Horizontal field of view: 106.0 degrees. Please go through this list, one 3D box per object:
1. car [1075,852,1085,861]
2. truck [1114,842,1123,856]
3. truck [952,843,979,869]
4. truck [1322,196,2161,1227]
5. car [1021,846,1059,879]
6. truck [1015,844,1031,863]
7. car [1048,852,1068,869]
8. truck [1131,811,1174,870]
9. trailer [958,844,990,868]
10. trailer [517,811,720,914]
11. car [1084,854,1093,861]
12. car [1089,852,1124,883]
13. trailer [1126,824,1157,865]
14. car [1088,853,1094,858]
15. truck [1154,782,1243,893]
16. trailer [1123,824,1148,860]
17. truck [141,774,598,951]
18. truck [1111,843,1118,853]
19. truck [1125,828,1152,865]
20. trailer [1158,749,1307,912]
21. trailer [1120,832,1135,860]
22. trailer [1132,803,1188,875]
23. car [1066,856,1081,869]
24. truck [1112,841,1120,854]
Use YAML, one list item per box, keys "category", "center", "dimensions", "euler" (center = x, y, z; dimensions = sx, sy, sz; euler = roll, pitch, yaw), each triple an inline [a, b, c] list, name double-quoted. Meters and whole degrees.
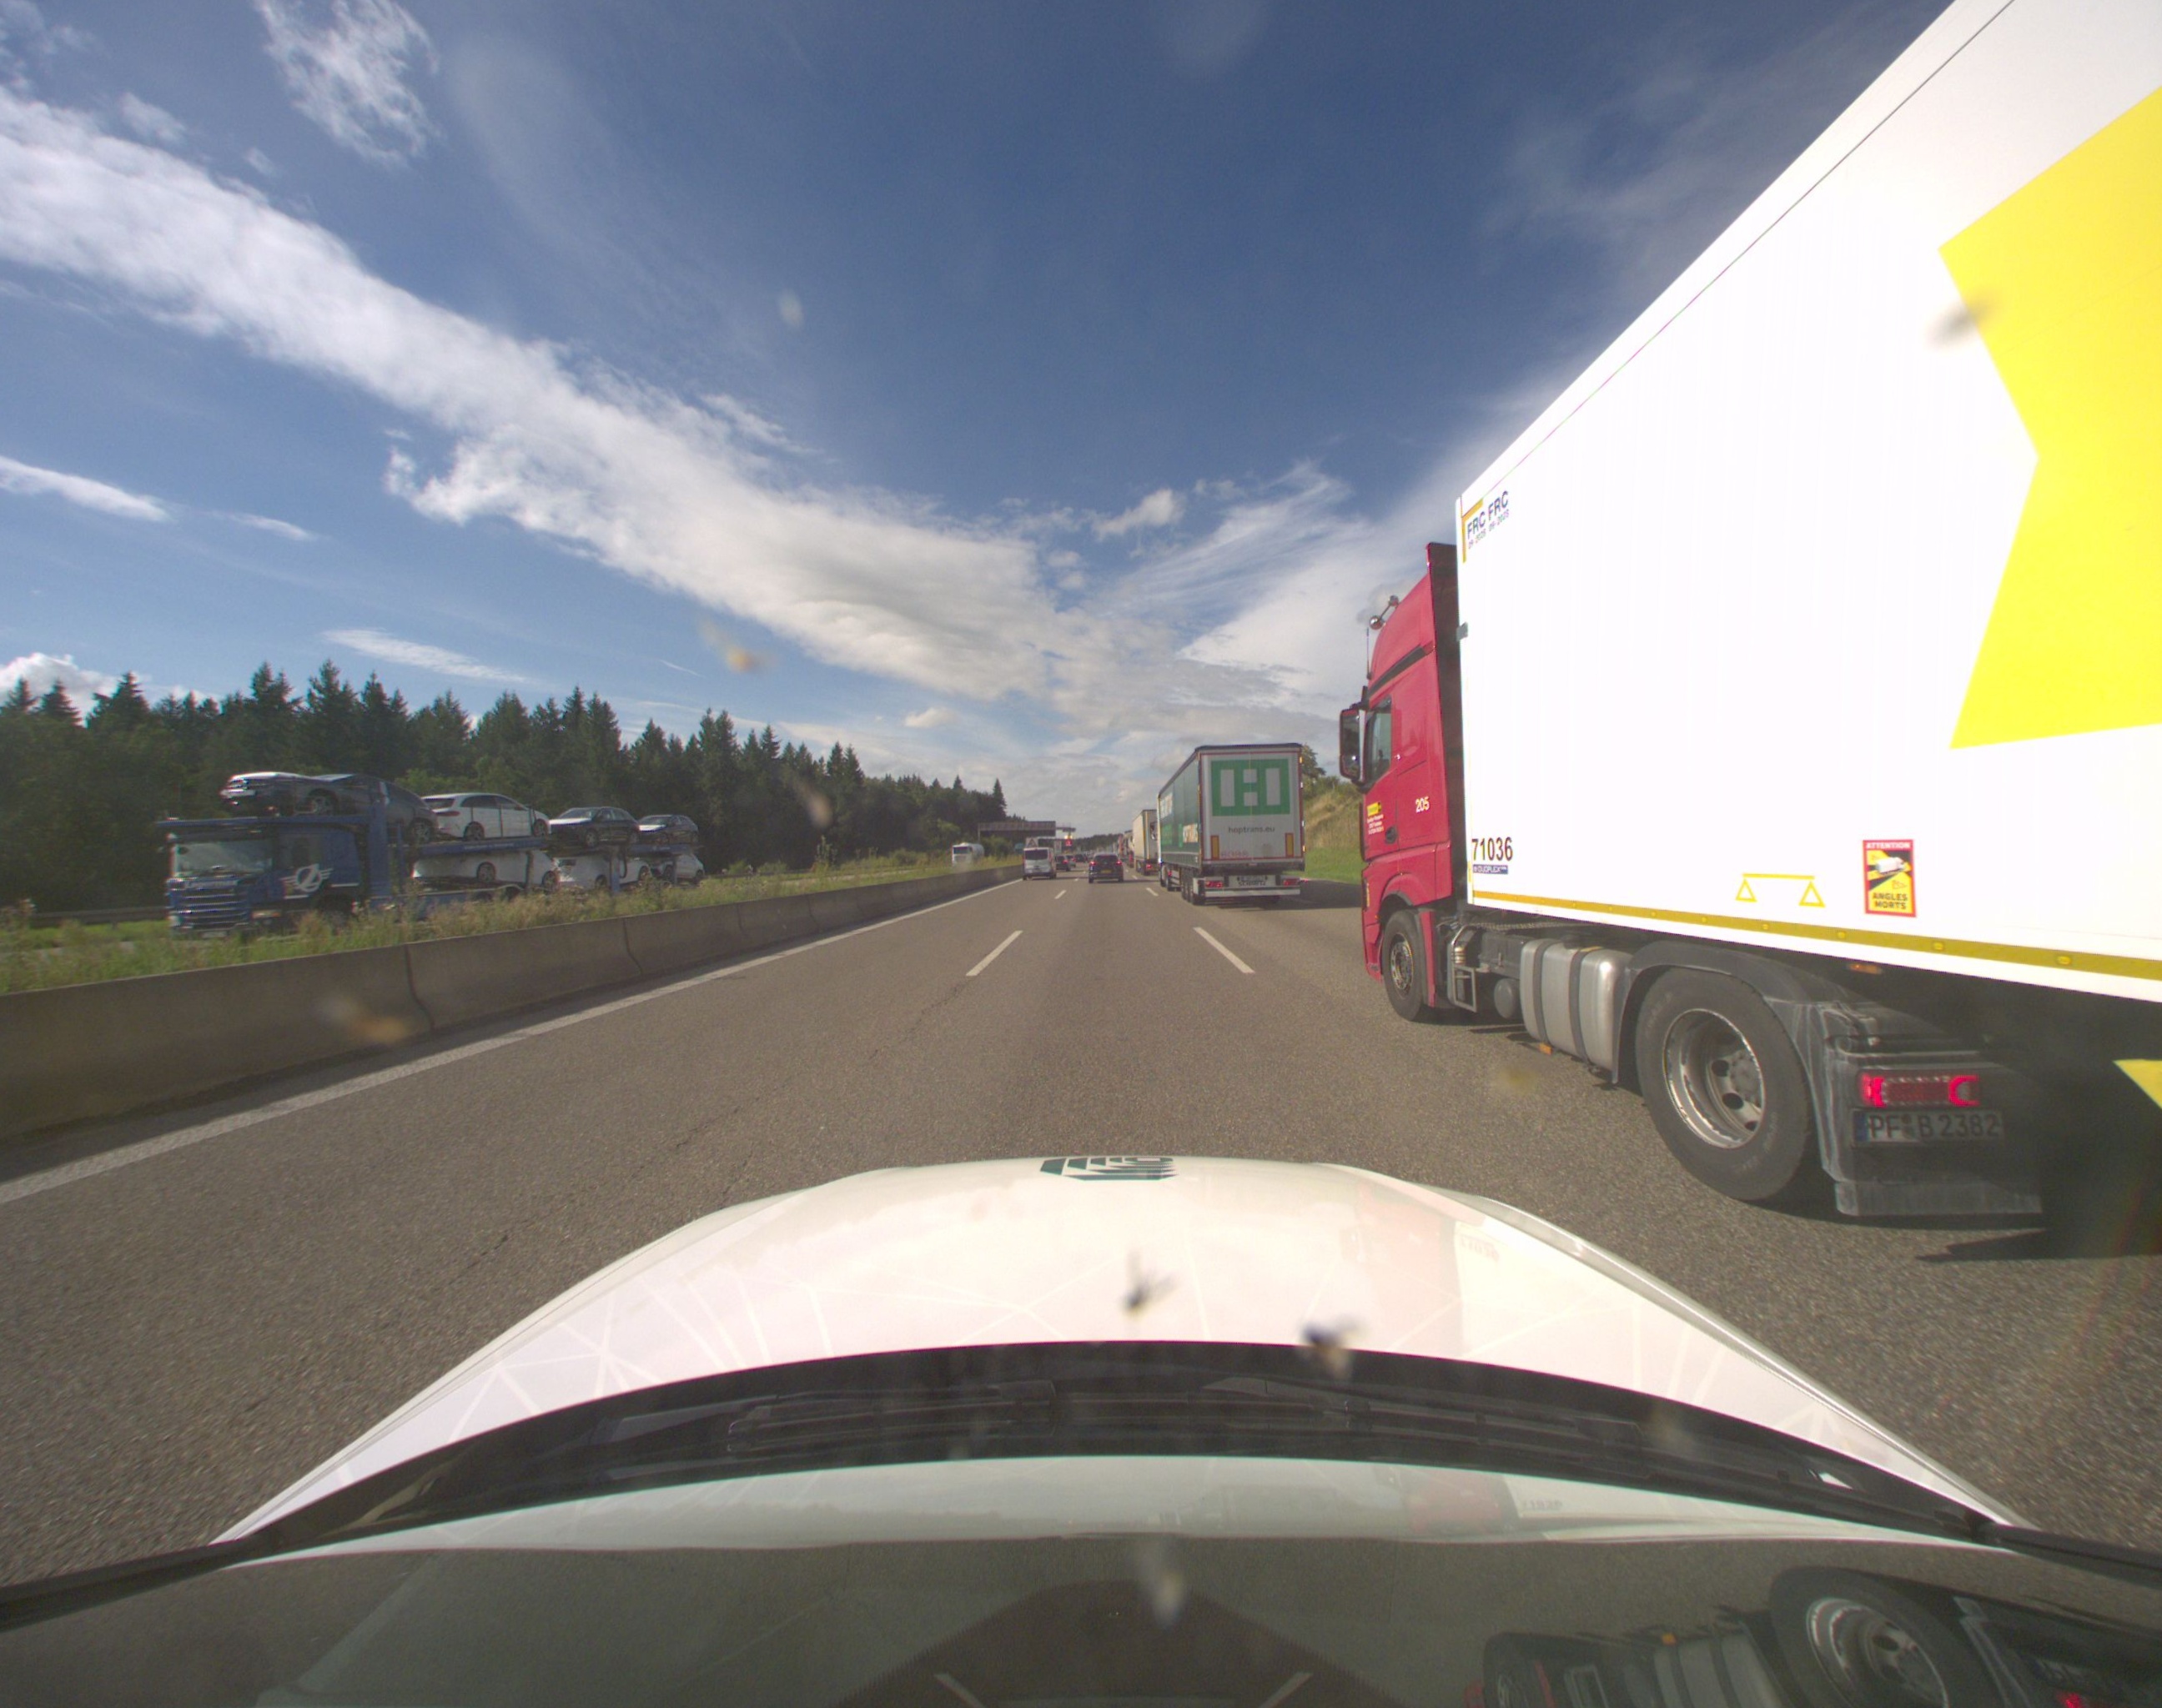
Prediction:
- category: "car"
  center: [-0.196, 0.392, 127.419]
  dimensions: [1.429, 1.310, 3.534]
  euler: [1, 0, 1]
- category: "truck"
  center: [8.160, -1.094, 177.573]
  dimensions: [1.986, 2.932, 4.984]
  euler: [1, 0, 2]
- category: "truck"
  center: [-15.600, 0.252, 110.164]
  dimensions: [2.307, 3.273, 6.111]
  euler: [-1, 0, 4]
- category: "truck"
  center: [3.999, -0.552, 6.033]
  dimensions: [2.792, 3.939, 5.827]
  euler: [-1, 0, 1]
- category: "car"
  center: [-2.536, 0.510, 51.398]
  dimensions: [1.926, 1.979, 5.100]
  euler: [1, 0, 2]
- category: "truck"
  center: [-13.607, -0.017, 192.142]
  dimensions: [2.702, 4.244, 10.345]
  euler: [-2, 0, 1]
- category: "car"
  center: [-1.951, 0.561, 70.217]
  dimensions: [1.494, 1.396, 3.477]
  euler: [-2, 0, 2]
- category: "truck"
  center: [5.226, -0.952, 60.738]
  dimensions: [2.698, 4.059, 6.364]
  euler: [-2, 0, 2]
- category: "trailer"
  center: [-15.130, 0.283, 115.728]
  dimensions: [2.311, 3.284, 10.886]
  euler: [-1, 0, 4]
- category: "trailer"
  center: [-18.223, 0.315, 33.056]
  dimensions: [2.788, 3.528, 8.958]
  euler: [-2, 0, 2]
- category: "car"
  center: [1.376, 0.593, 146.256]
  dimensions: [1.429, 1.310, 3.534]
  euler: [1, 0, 1]
- category: "car"
  center: [1.348, 0.678, 42.686]
  dimensions: [1.690, 1.483, 4.161]
  euler: [-1, 0, 2]
- category: "trailer"
  center: [5.813, -0.842, 79.681]
  dimensions: [2.531, 3.653, 10.631]
  euler: [-2, 0, 2]
- category: "car"
  center: [2.454, 0.377, 192.357]
  dimensions: [1.356, 1.301, 3.085]
  euler: [1, 0, 1]
- category: "truck"
  center: [4.510, -0.576, 32.564]
  dimensions: [2.637, 3.869, 6.999]
  euler: [-2, 0, 2]
- category: "trailer"
  center: [6.891, -1.474, 104.270]
  dimensions: [2.791, 4.244, 11.063]
  euler: [-2, 0, 2]
- category: "truck"
  center: [-18.495, 0.201, 22.944]
  dimensions: [2.821, 3.689, 11.135]
  euler: [-2, 0, 1]
- category: "truck"
  center: [10.336, -1.790, 249.180]
  dimensions: [1.986, 3.052, 4.984]
  euler: [1, 0, 2]
- category: "truck"
  center: [6.024, -0.758, 85.952]
  dimensions: [2.524, 3.584, 6.732]
  euler: [-2, 0, 2]
- category: "trailer"
  center: [4.308, -0.555, 26.420]
  dimensions: [2.651, 3.869, 13.400]
  euler: [-2, 0, 2]
- category: "trailer"
  center: [7.249, -1.170, 128.290]
  dimensions: [2.141, 4.259, 8.445]
  euler: [-2, 0, 2]
- category: "trailer"
  center: [5.012, -0.911, 54.124]
  dimensions: [2.693, 4.081, 12.950]
  euler: [-2, 0, 2]
- category: "car"
  center: [-0.815, 0.912, 89.127]
  dimensions: [1.494, 1.396, 3.477]
  euler: [1, 0, 2]
- category: "truck"
  center: [8.870, -1.574, 205.080]
  dimensions: [1.986, 3.052, 4.984]
  euler: [1, 0, 2]
